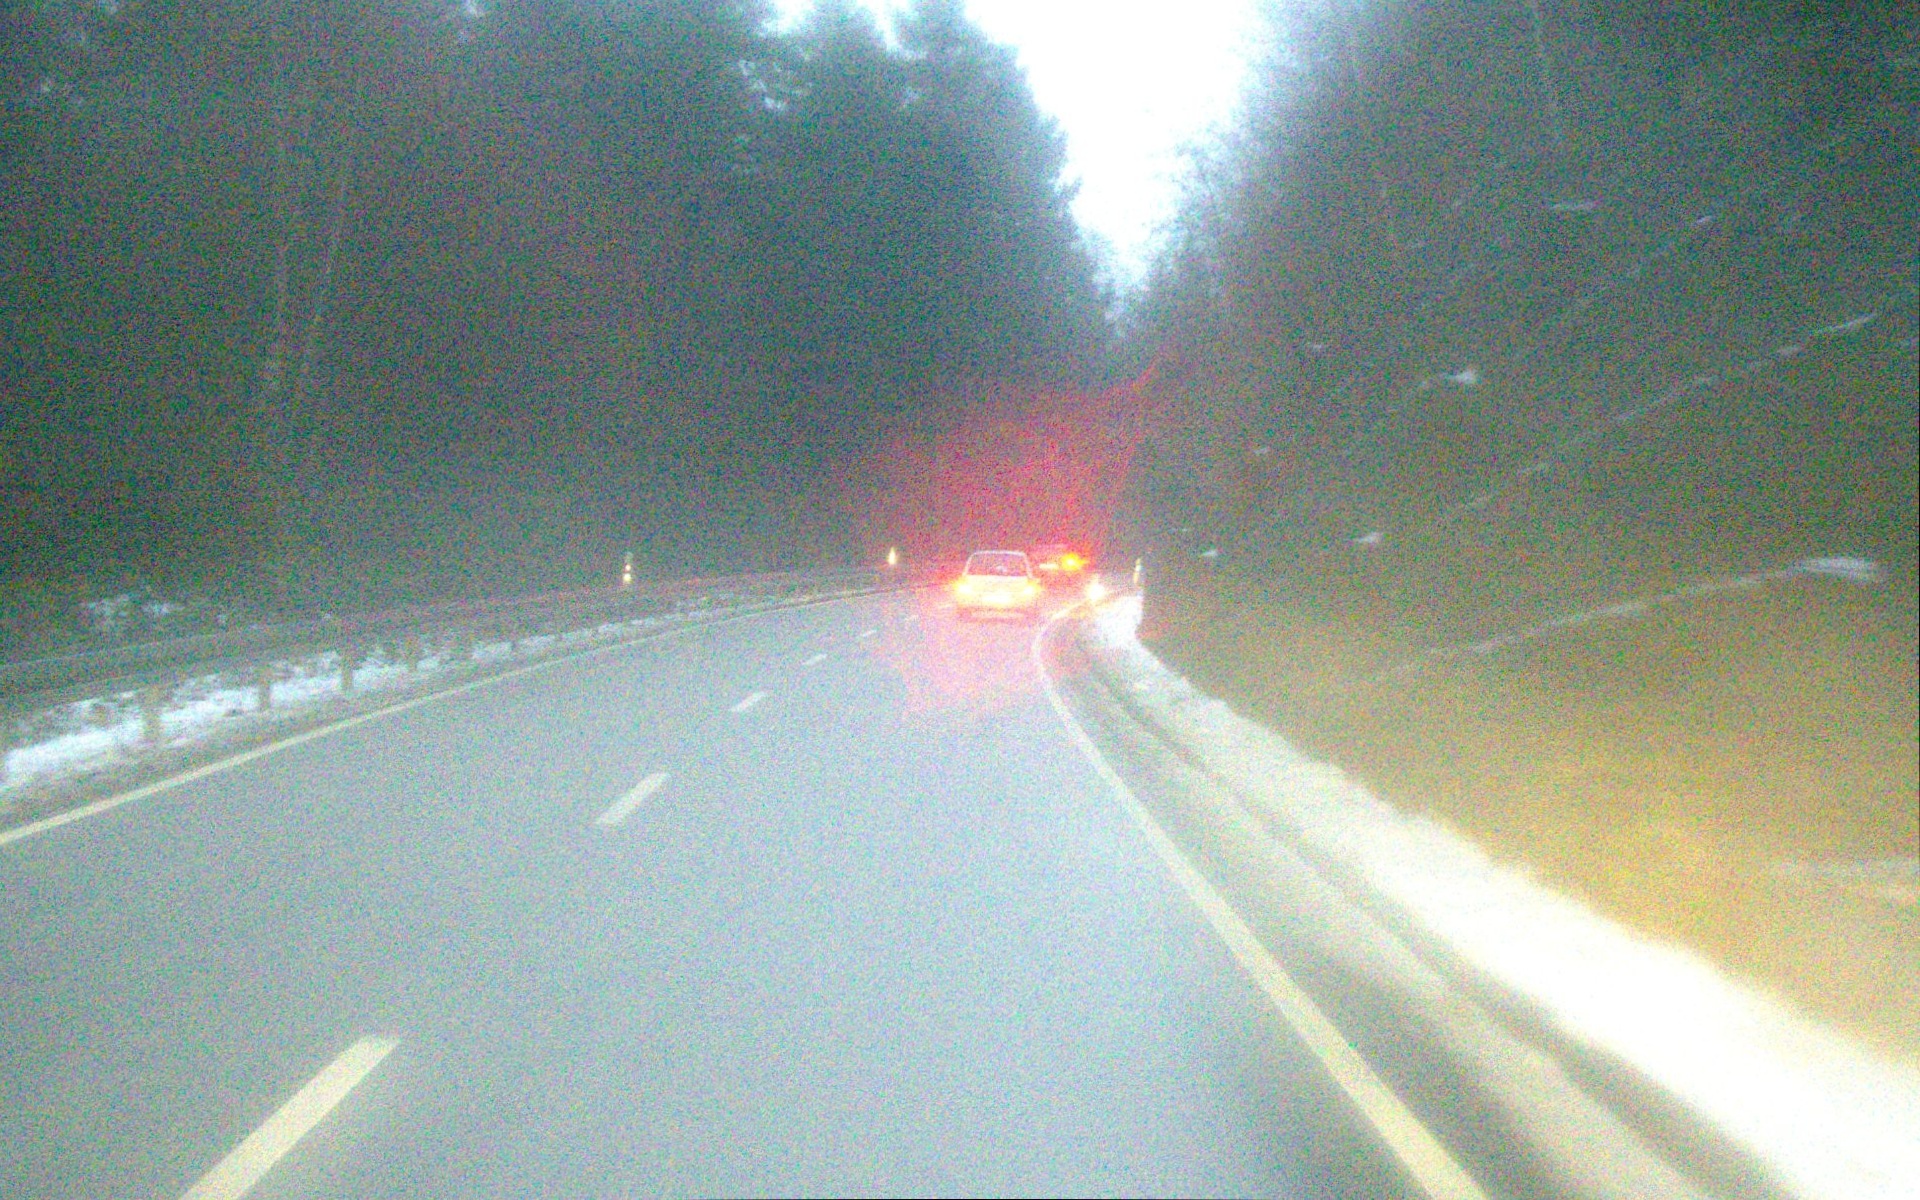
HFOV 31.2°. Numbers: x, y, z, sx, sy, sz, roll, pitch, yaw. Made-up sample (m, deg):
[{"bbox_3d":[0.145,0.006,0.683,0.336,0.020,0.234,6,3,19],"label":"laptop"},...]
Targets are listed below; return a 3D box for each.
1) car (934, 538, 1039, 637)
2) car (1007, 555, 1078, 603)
[{"bbox_3d":[0.529,-0.281,69.303,1.993,1.866,4.000,-2,1,1],"label":"car"},{"bbox_3d":[2.445,-0.640,102.457,1.993,1.305,4.000,-2,1,1],"label":"car"}]
